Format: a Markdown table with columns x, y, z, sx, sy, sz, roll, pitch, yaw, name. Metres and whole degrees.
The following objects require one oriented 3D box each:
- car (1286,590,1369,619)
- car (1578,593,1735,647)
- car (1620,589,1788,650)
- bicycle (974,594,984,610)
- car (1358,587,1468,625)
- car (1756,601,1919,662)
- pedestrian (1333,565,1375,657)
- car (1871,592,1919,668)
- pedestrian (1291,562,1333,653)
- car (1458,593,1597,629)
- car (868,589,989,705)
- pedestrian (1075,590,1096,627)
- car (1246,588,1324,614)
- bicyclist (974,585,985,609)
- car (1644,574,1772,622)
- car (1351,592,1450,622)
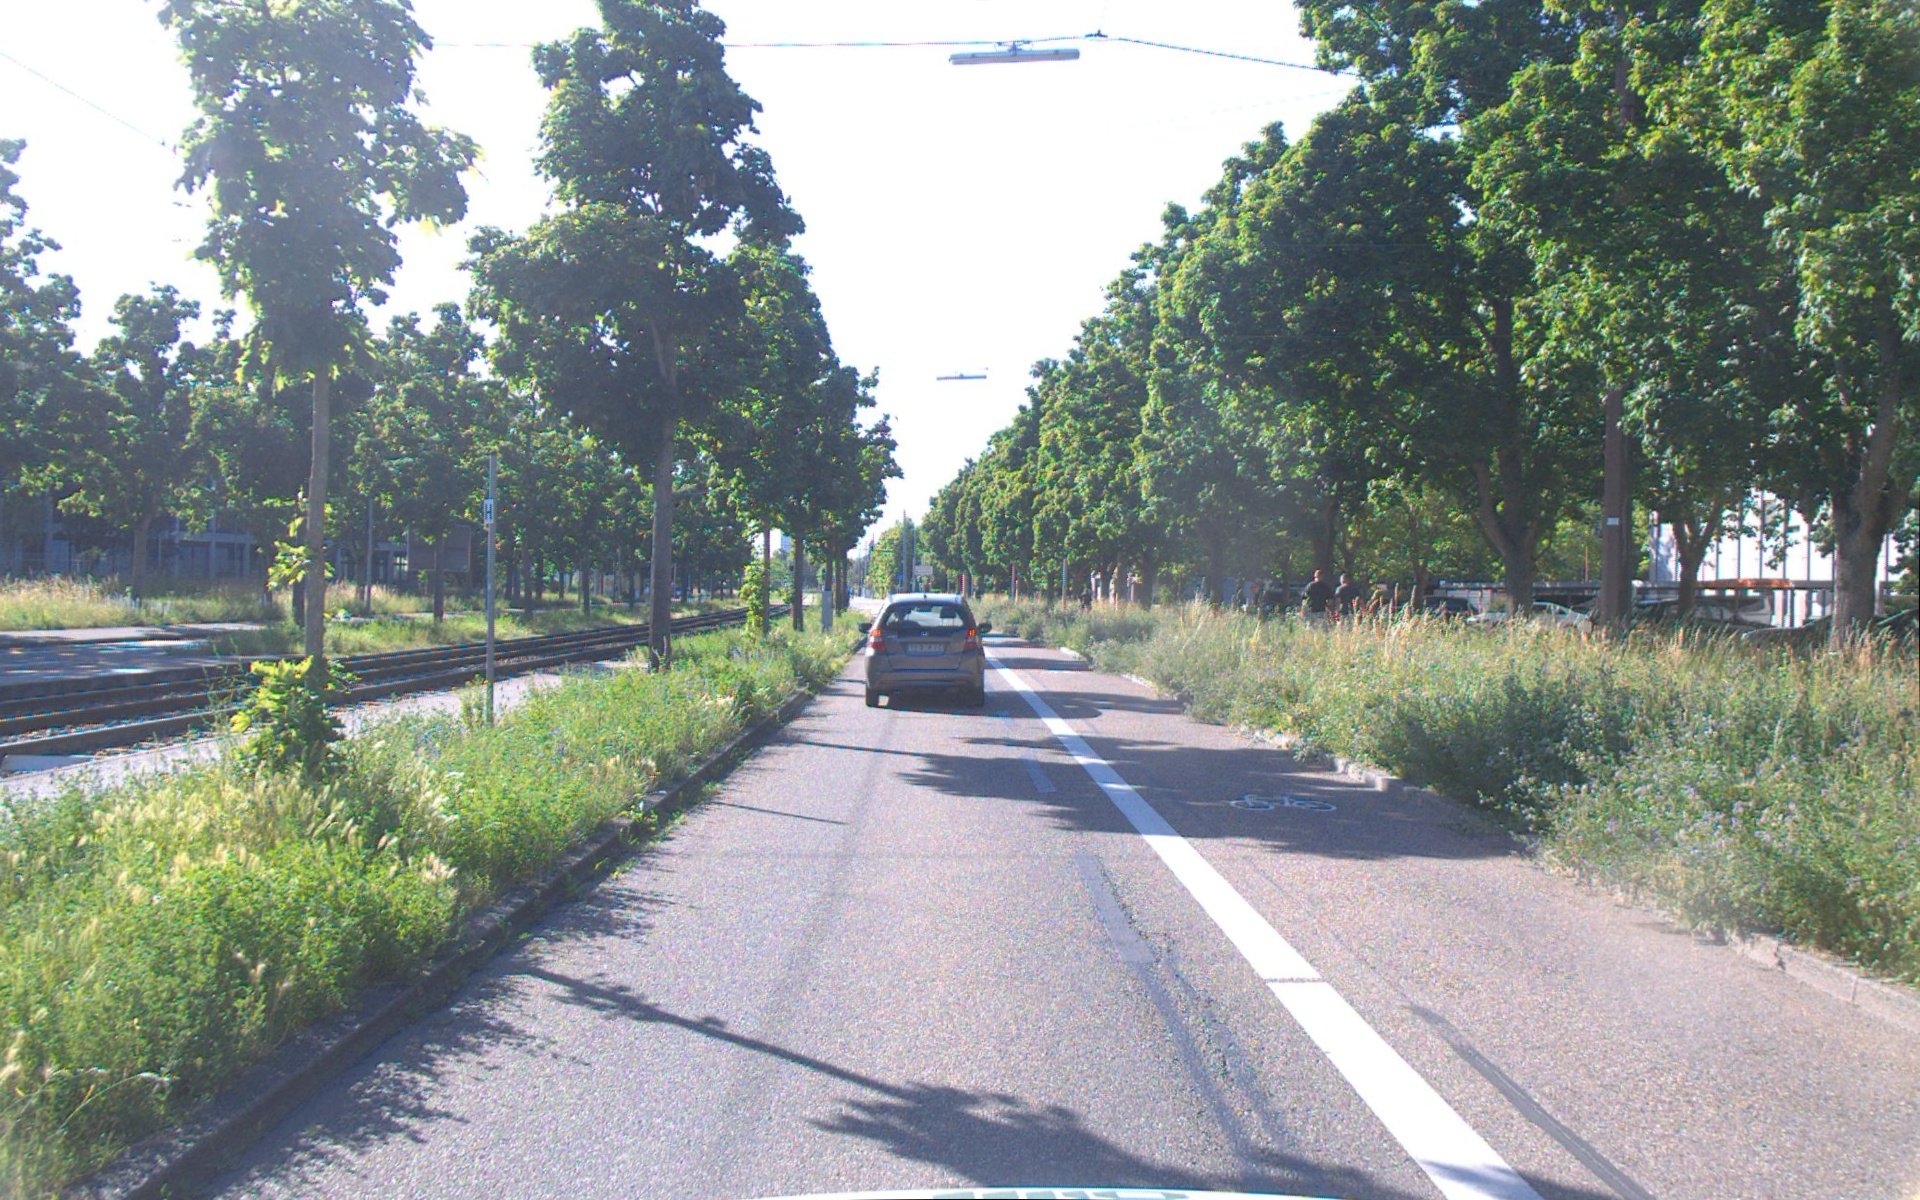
| x | y | z | sx | sy | sz | roll | pitch | yaw | name |
| --- | --- | --- | --- | --- | --- | --- | --- | --- | --- |
| 19.933 | 0.242 | 89.774 | 4.079 | 1.457 | 1.825 | 1 | 0 | 1 | car |
| 21.057 | 0.587 | 50.079 | 4.156 | 1.562 | 1.761 | 0 | 0 | -12 | car |
| 21.575 | 0.533 | 47.999 | 4.258 | 1.730 | 1.761 | 0 | 0 | -12 | car |
| 1.465 | 0.156 | 125.039 | 0.473 | 1.225 | 2.140 | 1 | -2 | -7 | bicycle |
| 19.997 | 0.264 | 73.088 | 4.306 | 1.624 | 1.882 | 1 | 0 | -6 | car |
| 21.915 | 0.761 | 40.789 | 3.907 | 1.365 | 1.702 | 1 | 0 | 36 | car |
| 8.612 | 0.235 | 36.174 | 0.693 | 1.964 | 0.816 | 1 | 0 | -1 | pedestrian |
| 22.476 | 0.695 | 36.582 | 3.908 | 1.667 | 1.717 | 1 | 0 | 36 | car |
| 7.681 | 0.164 | 36.109 | 0.693 | 1.951 | 0.816 | 1 | 0 | -1 | pedestrian |
| 21.186 | 0.396 | 61.835 | 4.605 | 1.293 | 1.806 | 0 | 1 | -5 | car |
| -0.499 | 0.613 | 23.596 | 1.592 | 1.526 | 3.455 | 0 | 0 | -3 | car |
| 5.386 | 0.362 | 71.169 | 0.807 | 1.596 | 0.762 | 1 | 0 | -2 | pedestrian |
| 19.223 | 0.070 | 97.973 | 4.266 | 1.484 | 1.689 | 1 | 0 | 1 | car |
| 1.476 | -0.220 | 125.159 | 0.669 | 1.750 | 0.902 | 1 | -1 | -4 | bicyclist |
| 32.238 | -0.100 | 71.349 | 4.654 | 1.984 | 1.973 | 0 | 1 | -3 | car |
| 20.833 | 0.340 | 78.331 | 4.203 | 1.347 | 1.941 | 0 | 1 | 2 | car |
